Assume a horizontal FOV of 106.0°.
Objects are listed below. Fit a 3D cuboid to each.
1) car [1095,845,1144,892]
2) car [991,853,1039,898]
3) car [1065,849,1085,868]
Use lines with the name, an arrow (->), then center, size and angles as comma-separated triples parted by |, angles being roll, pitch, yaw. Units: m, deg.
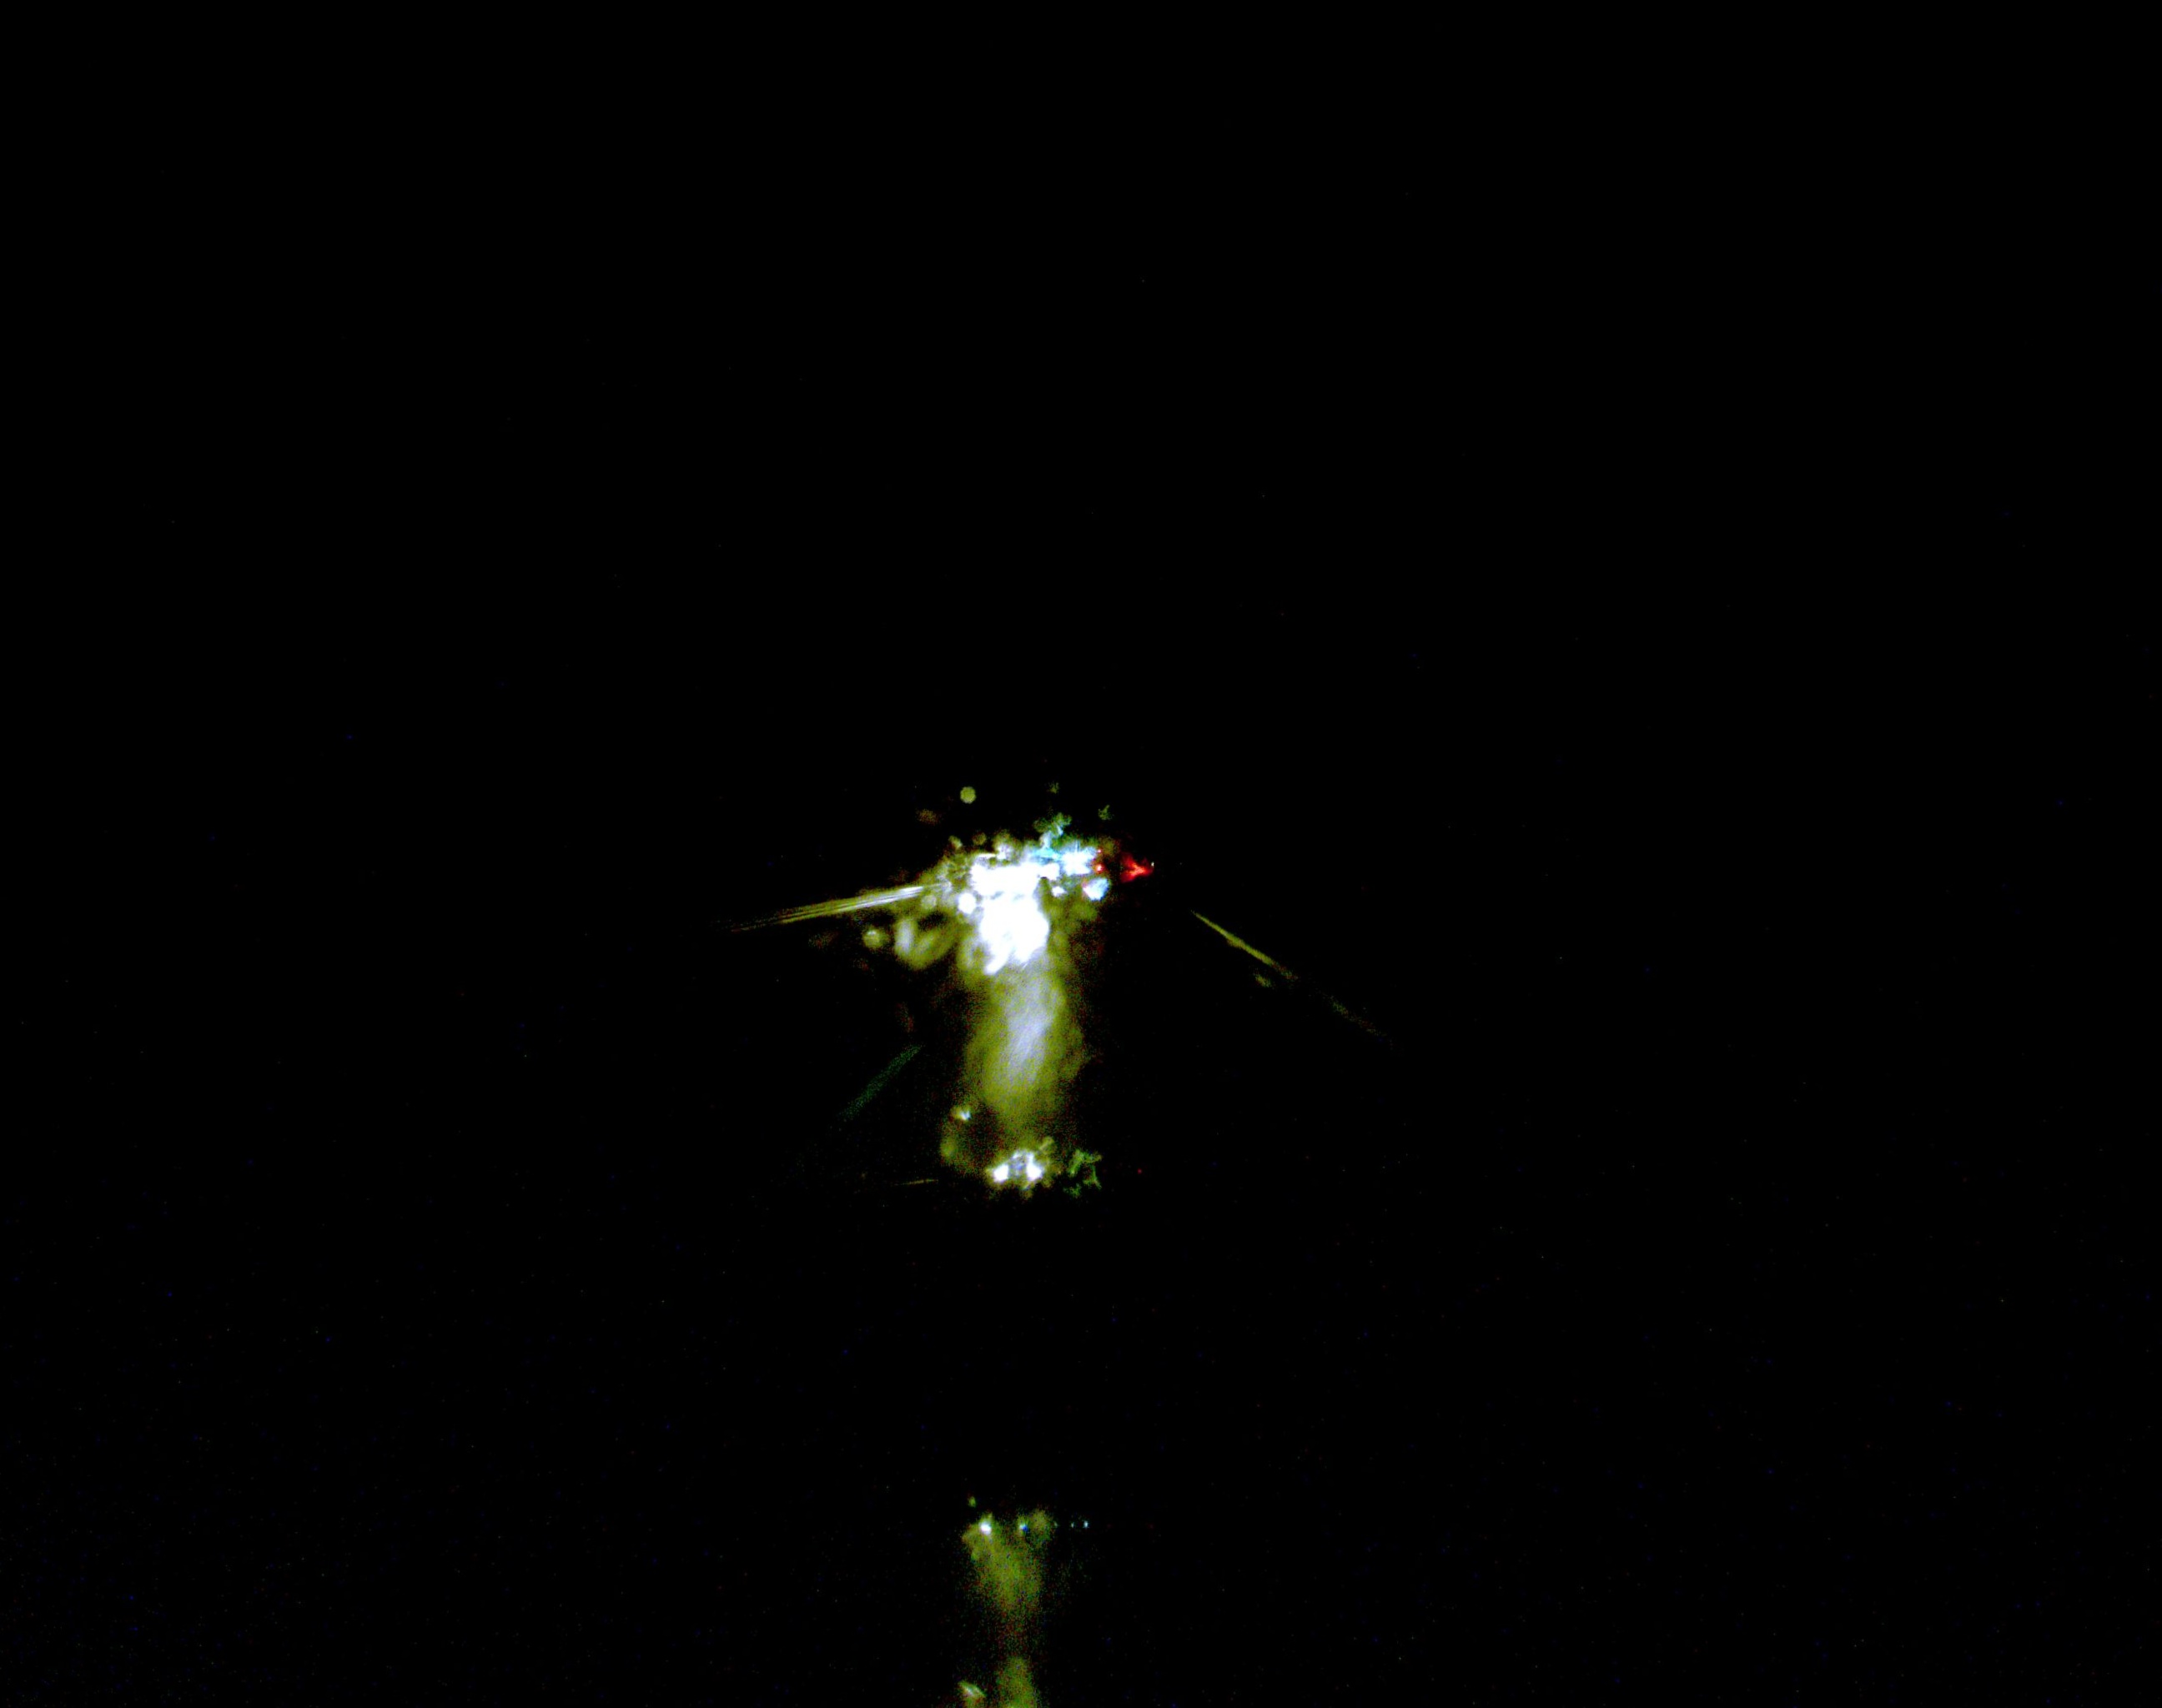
car -> 1.649, 0.579, 35.920 | 1.986, 1.806, 3.919 | -2, 2, 1
car -> -2.661, 0.837, 33.586 | 1.629, 1.581, 3.744 | -2, 2, 0
car -> -0.632, 0.425, 86.057 | 1.987, 1.781, 4.001 | -2, 2, 0
